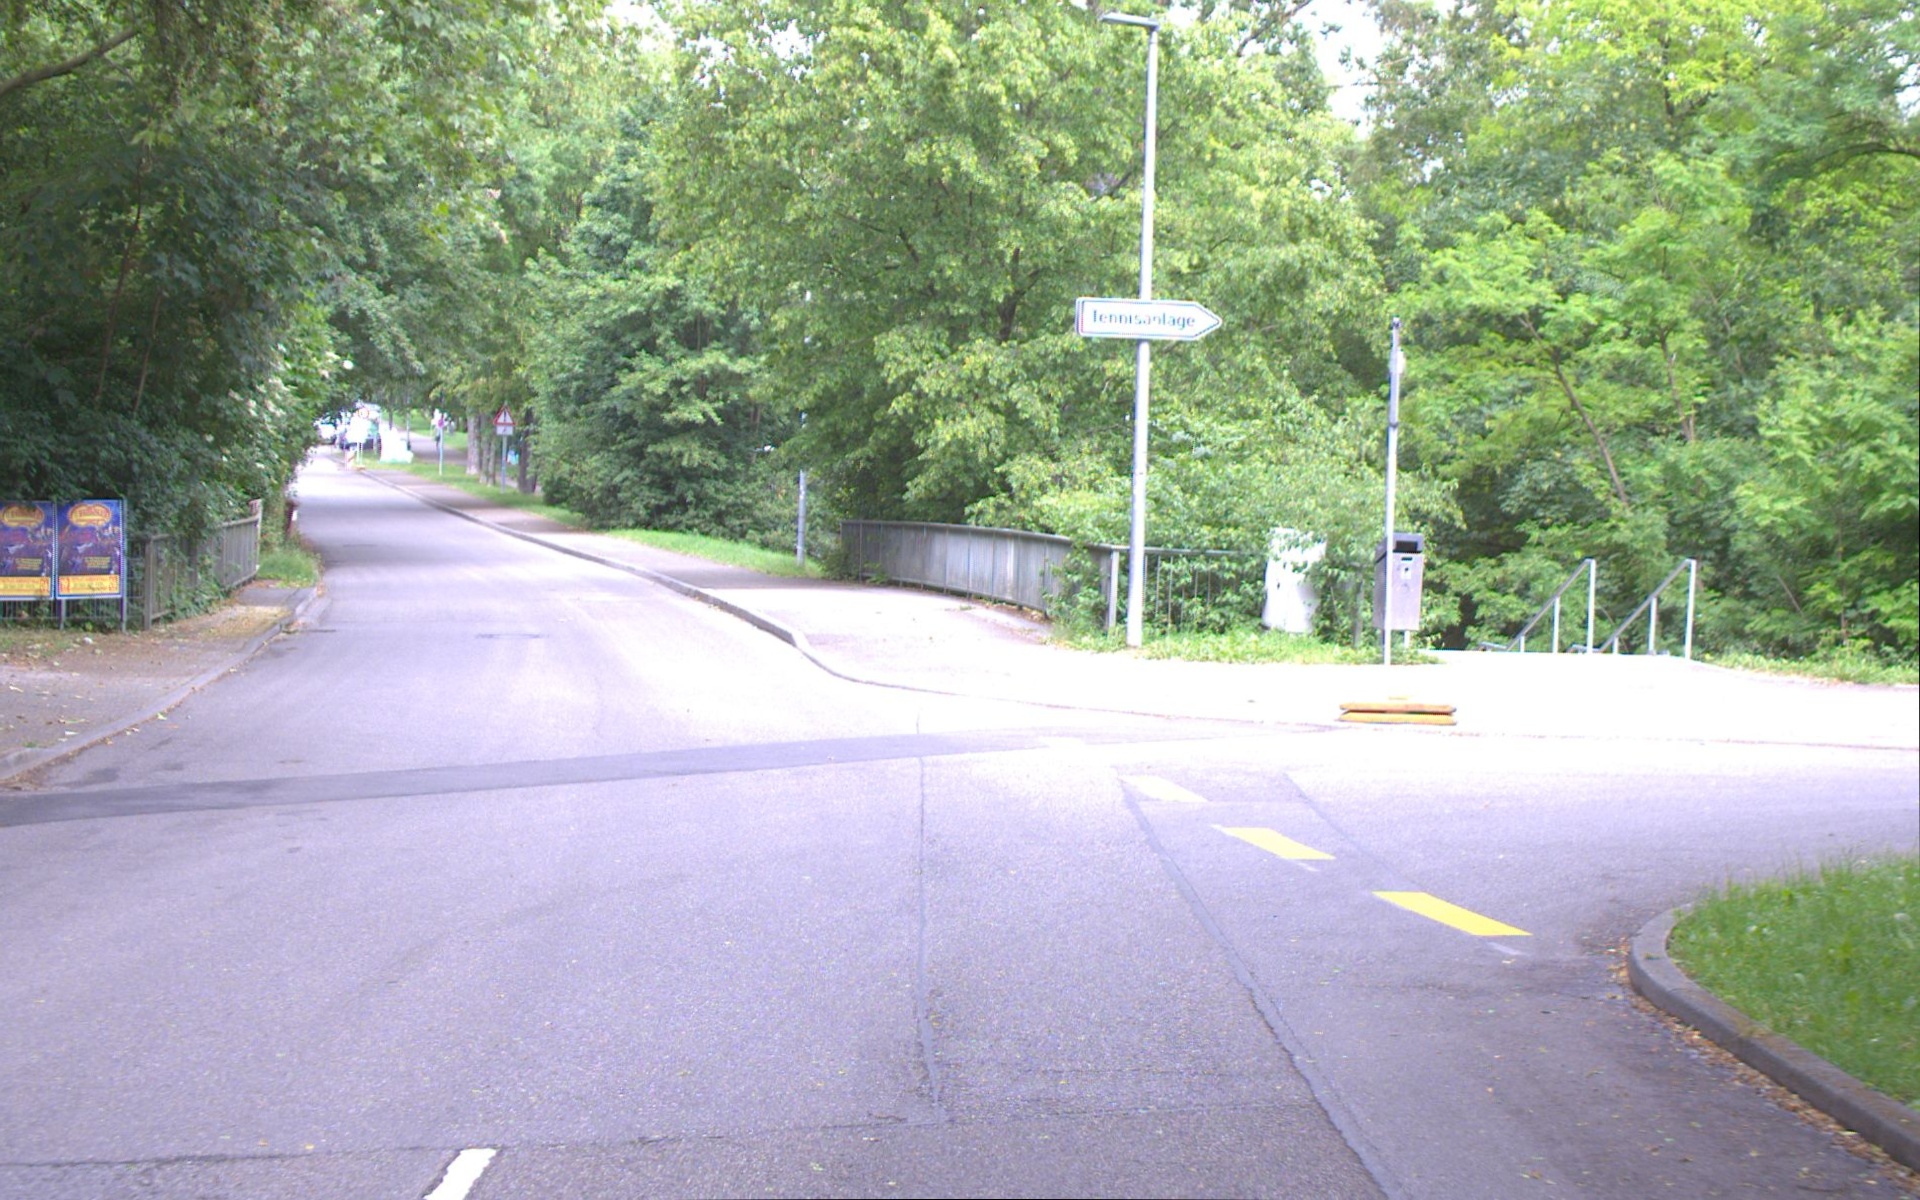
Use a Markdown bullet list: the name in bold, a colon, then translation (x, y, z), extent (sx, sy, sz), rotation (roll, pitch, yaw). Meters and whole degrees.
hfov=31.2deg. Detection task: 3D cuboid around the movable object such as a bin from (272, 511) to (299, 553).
- **movable object such as a bin**: translation (-15.648, -1.573, 79.724), extent (0.590, 0.954, 0.470), rotation (1, 1, -11)
